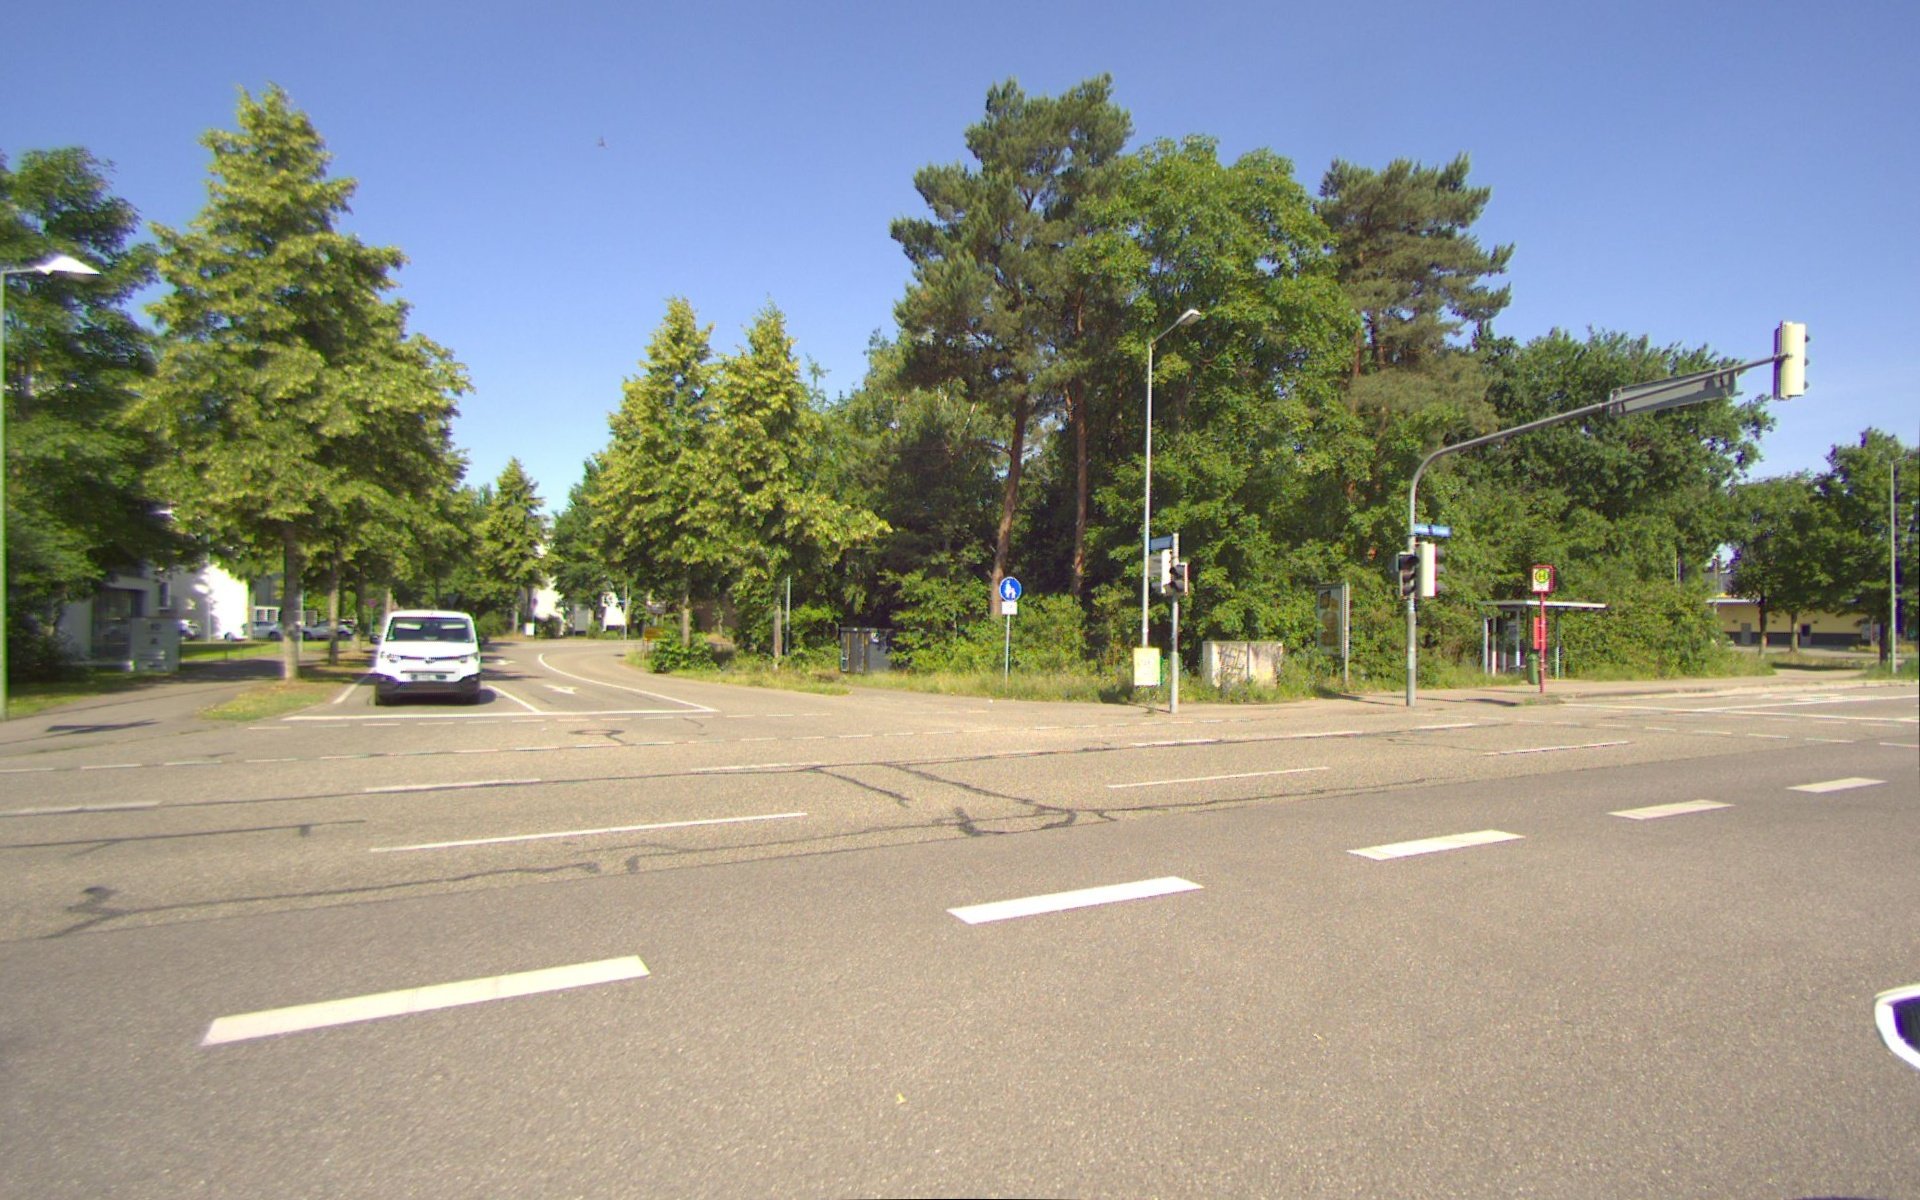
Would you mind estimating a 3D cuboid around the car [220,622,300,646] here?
[{"bbox_3d":[-48.779,2.388,70.084,4.209,1.506,1.769,2,0,-20],"label":"car"}]

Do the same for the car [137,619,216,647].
[{"bbox_3d":[-53.214,2.252,68.320,3.954,1.751,1.984,2,0,-30],"label":"car"}]

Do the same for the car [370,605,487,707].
[{"bbox_3d":[-10.671,1.097,20.256,1.829,1.801,4.628,2,-3,-28],"label":"car"}]

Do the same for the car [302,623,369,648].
[{"bbox_3d":[-44.107,2.484,71.012,3.637,1.584,1.599,2,0,-6],"label":"car"}]
